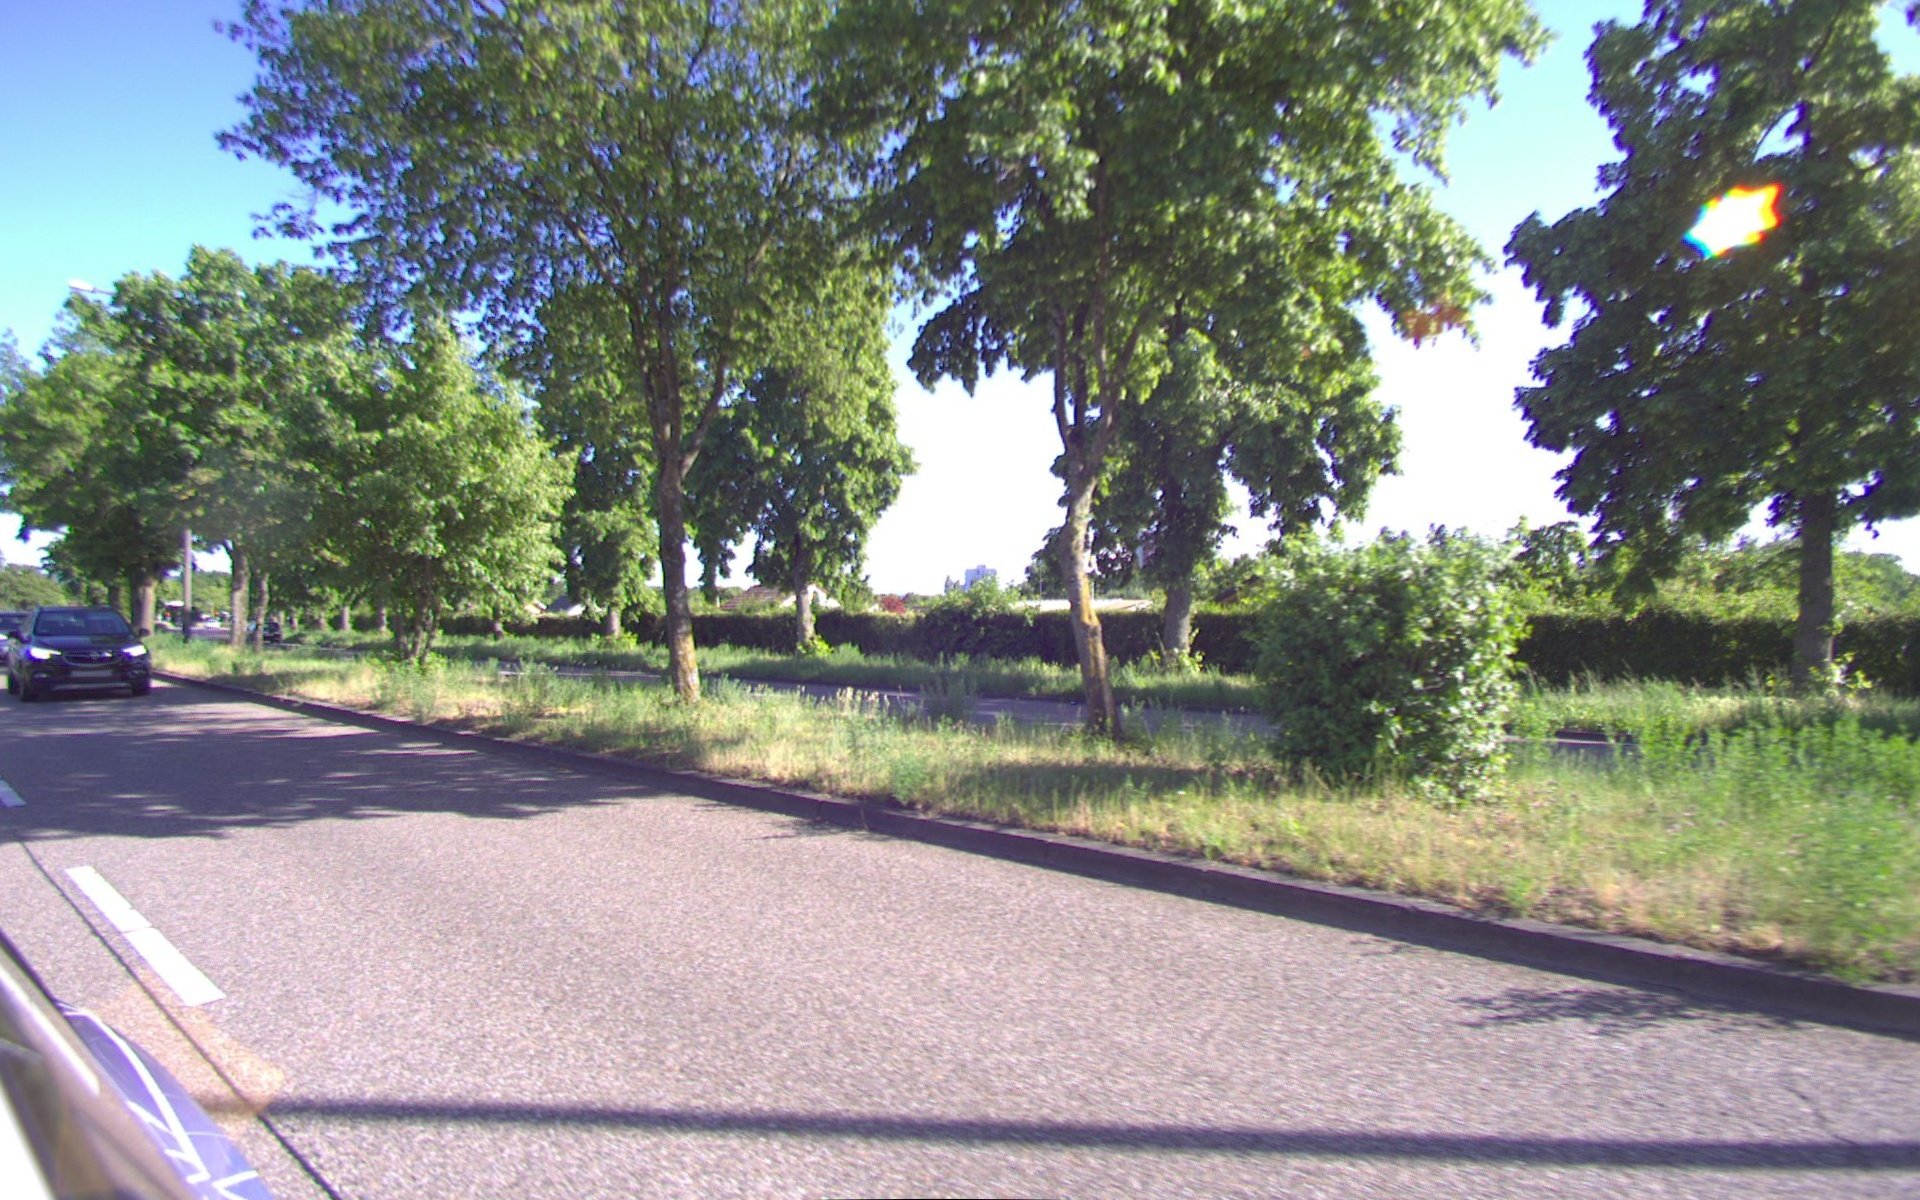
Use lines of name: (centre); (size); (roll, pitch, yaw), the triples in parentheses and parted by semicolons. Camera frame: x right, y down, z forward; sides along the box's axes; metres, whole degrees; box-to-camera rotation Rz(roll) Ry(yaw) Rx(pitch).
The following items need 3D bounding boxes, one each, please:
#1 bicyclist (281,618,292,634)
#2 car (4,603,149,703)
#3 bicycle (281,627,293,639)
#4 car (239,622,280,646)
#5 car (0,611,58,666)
bicyclist: (-60.351, 2.332, 90.737); (0.681, 1.432, 1.002); (1, -2, -41)
car: (-16.330, 0.873, 18.619); (1.785, 1.627, 4.518); (1, -1, -44)
bicycle: (-60.361, 2.967, 90.744); (0.681, 1.004, 1.844); (1, -2, -41)
car: (-45.709, 2.206, 65.976); (1.671, 1.447, 4.948); (4, -3, -40)
car: (-28.820, 1.139, 30.856); (1.798, 1.574, 4.650); (0, -1, -44)
